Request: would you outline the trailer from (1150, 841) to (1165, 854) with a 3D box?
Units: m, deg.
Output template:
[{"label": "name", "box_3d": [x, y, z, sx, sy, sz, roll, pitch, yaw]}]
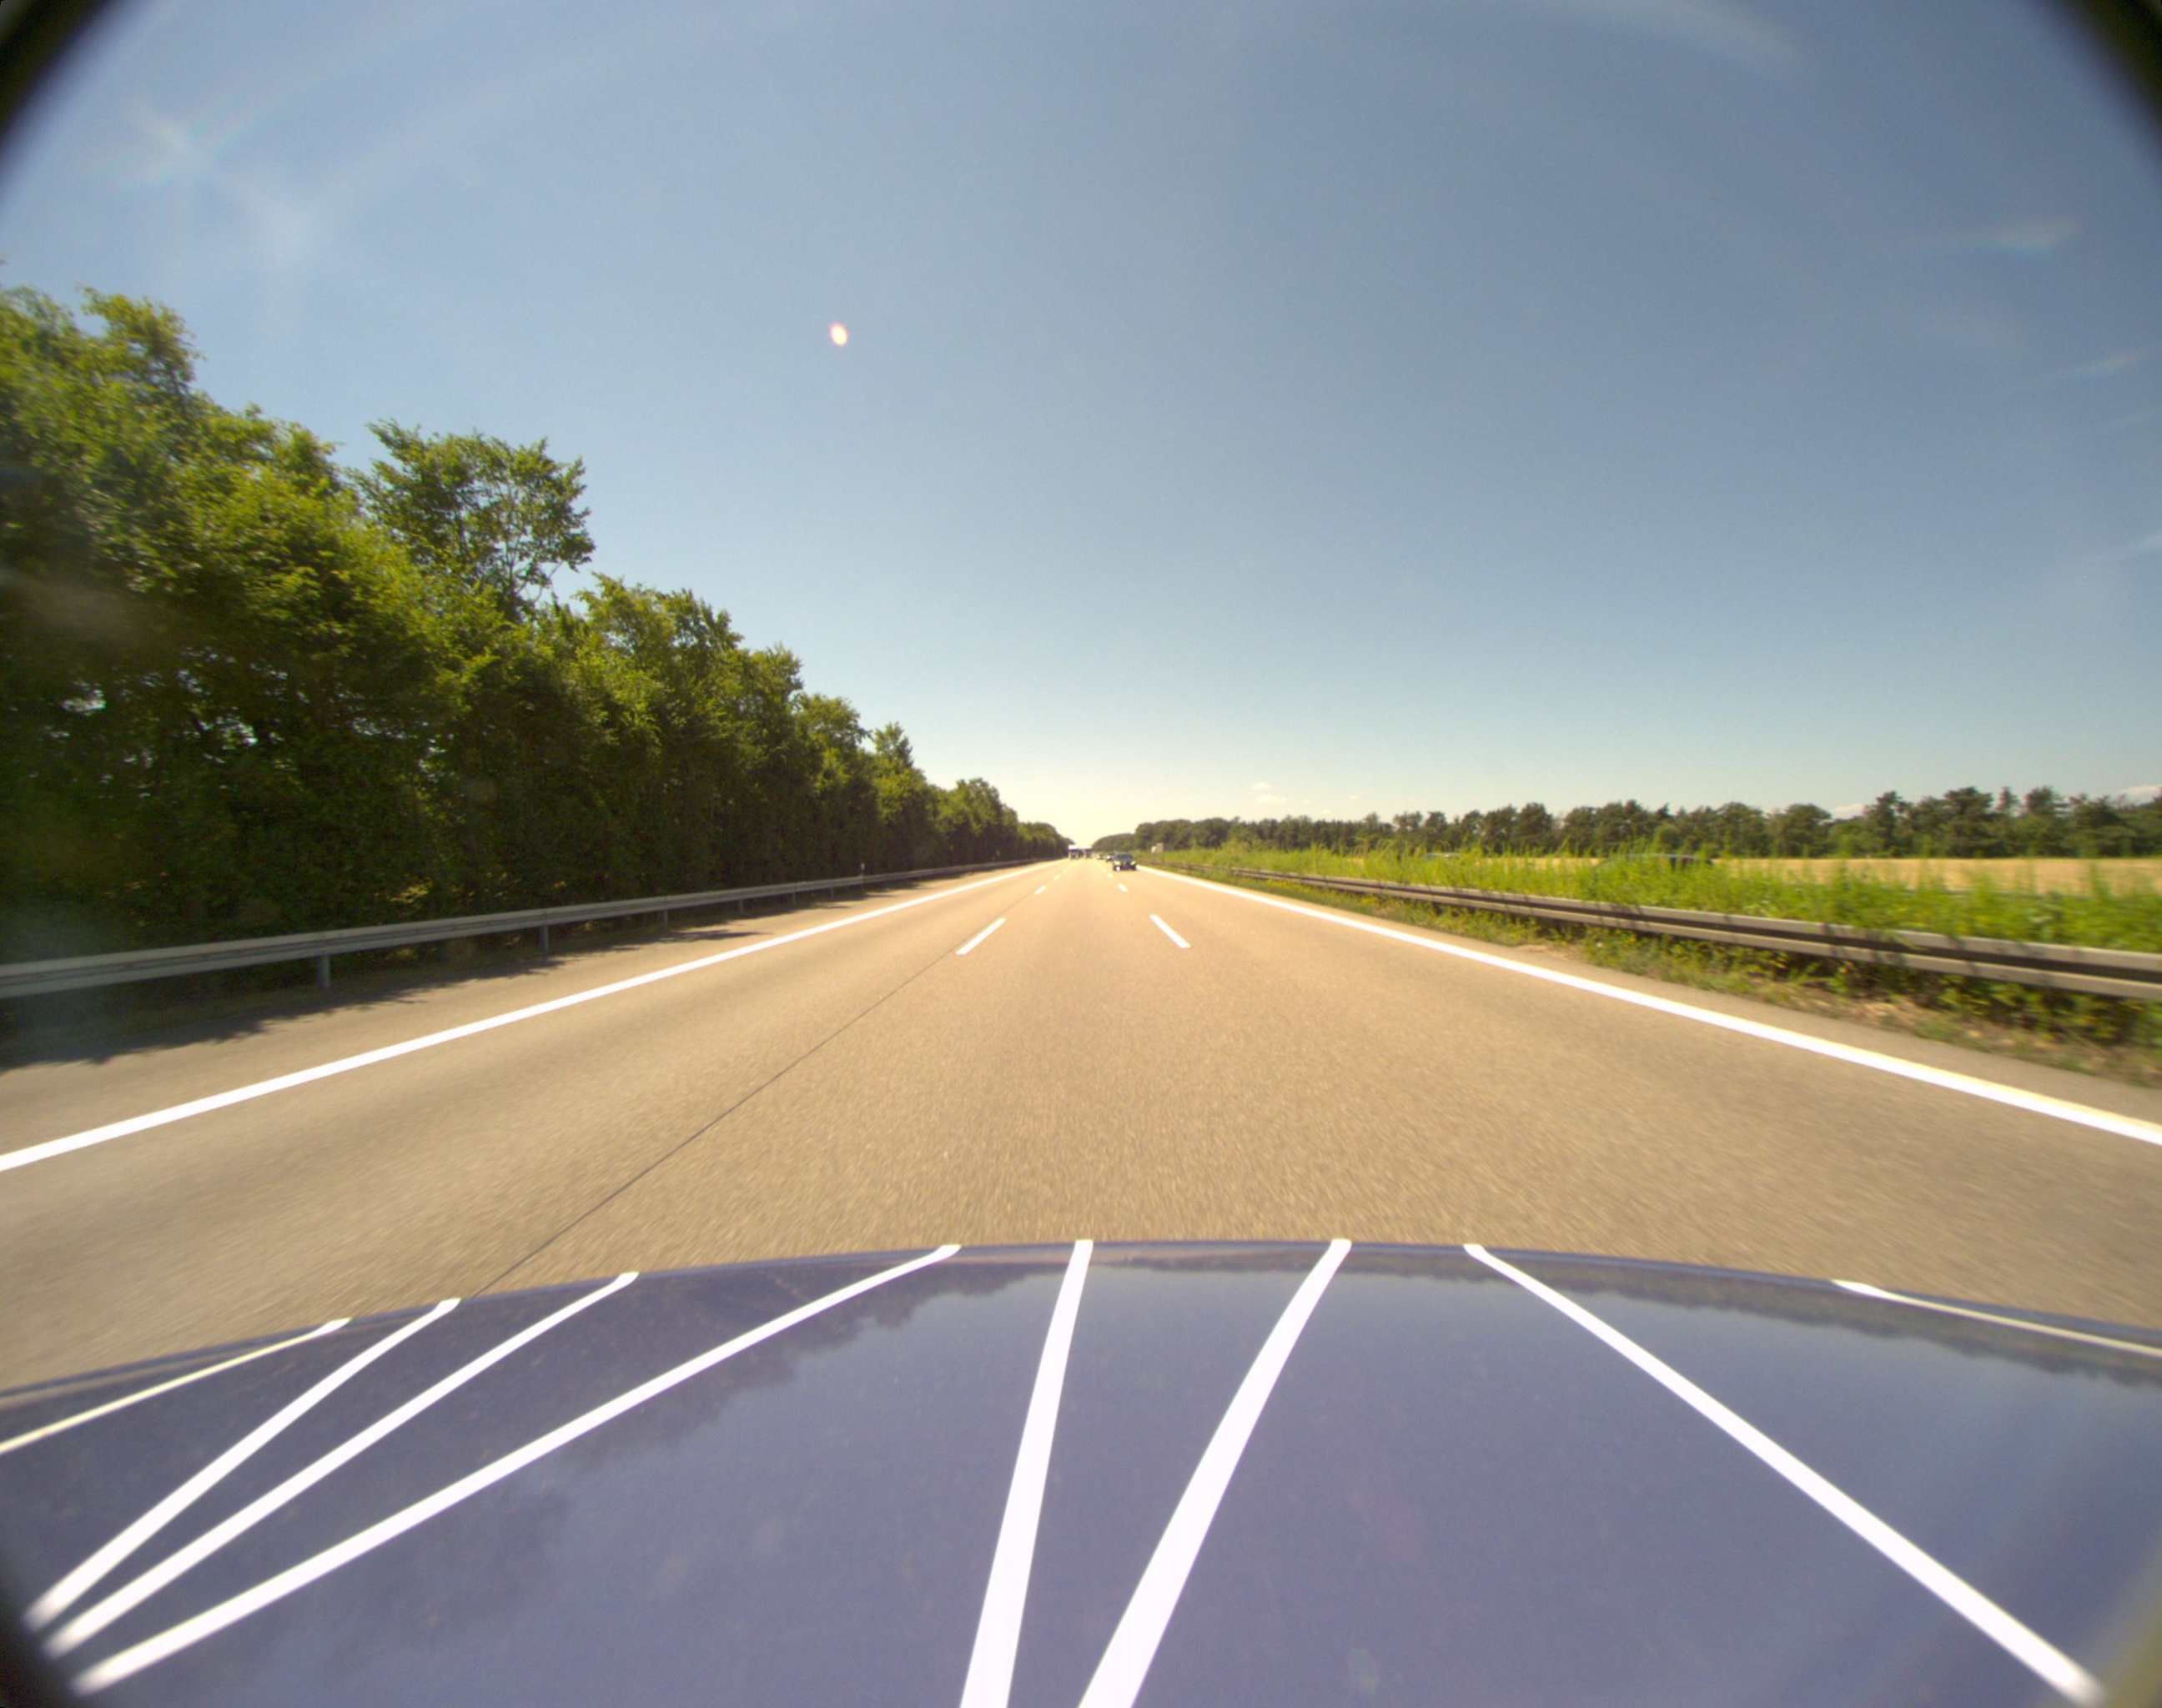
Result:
[{"label": "trailer", "box_3d": [23.349, -2.020, 232.071, 3.117, 3.677, 14.382, -2, 0, 1]}]

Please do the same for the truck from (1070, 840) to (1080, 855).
[{"label": "truck", "box_3d": [-1.789, -1.890, 222.015, 2.863, 4.247, 6.863, -2, 0, -1]}]

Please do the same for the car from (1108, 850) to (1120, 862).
[{"label": "car", "box_3d": [5.249, 0.329, 121.742, 1.806, 1.774, 4.000, -1, 1, 1]}]

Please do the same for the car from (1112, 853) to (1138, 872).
[{"label": "car", "box_3d": [3.630, 0.666, 63.018, 1.811, 1.399, 3.999, -3, 0, -1]}]

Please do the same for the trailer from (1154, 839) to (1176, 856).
[{"label": "trailer", "box_3d": [19.945, -1.449, 181.792, 3.358, 3.677, 14.380, -2, 0, -1]}]

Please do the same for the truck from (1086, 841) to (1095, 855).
[{"label": "truck", "box_3d": [3.024, -1.820, 239.956, 2.863, 4.247, 5.411, -2, 0, 0]}]

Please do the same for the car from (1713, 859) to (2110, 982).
[{"label": "car", "box_3d": [12.407, 0.876, 11.831, 1.814, 1.532, 4.000, 0, 0, 1]}]

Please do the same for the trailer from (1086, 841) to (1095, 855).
[{"label": "trailer", "box_3d": [3.054, -1.834, 246.644, 2.863, 4.247, 11.471, -2, 0, 0]}]

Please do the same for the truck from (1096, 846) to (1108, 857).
[{"label": "truck", "box_3d": [4.990, -0.527, 177.605, 2.576, 2.461, 5.614, -2, 0, 0]}]
